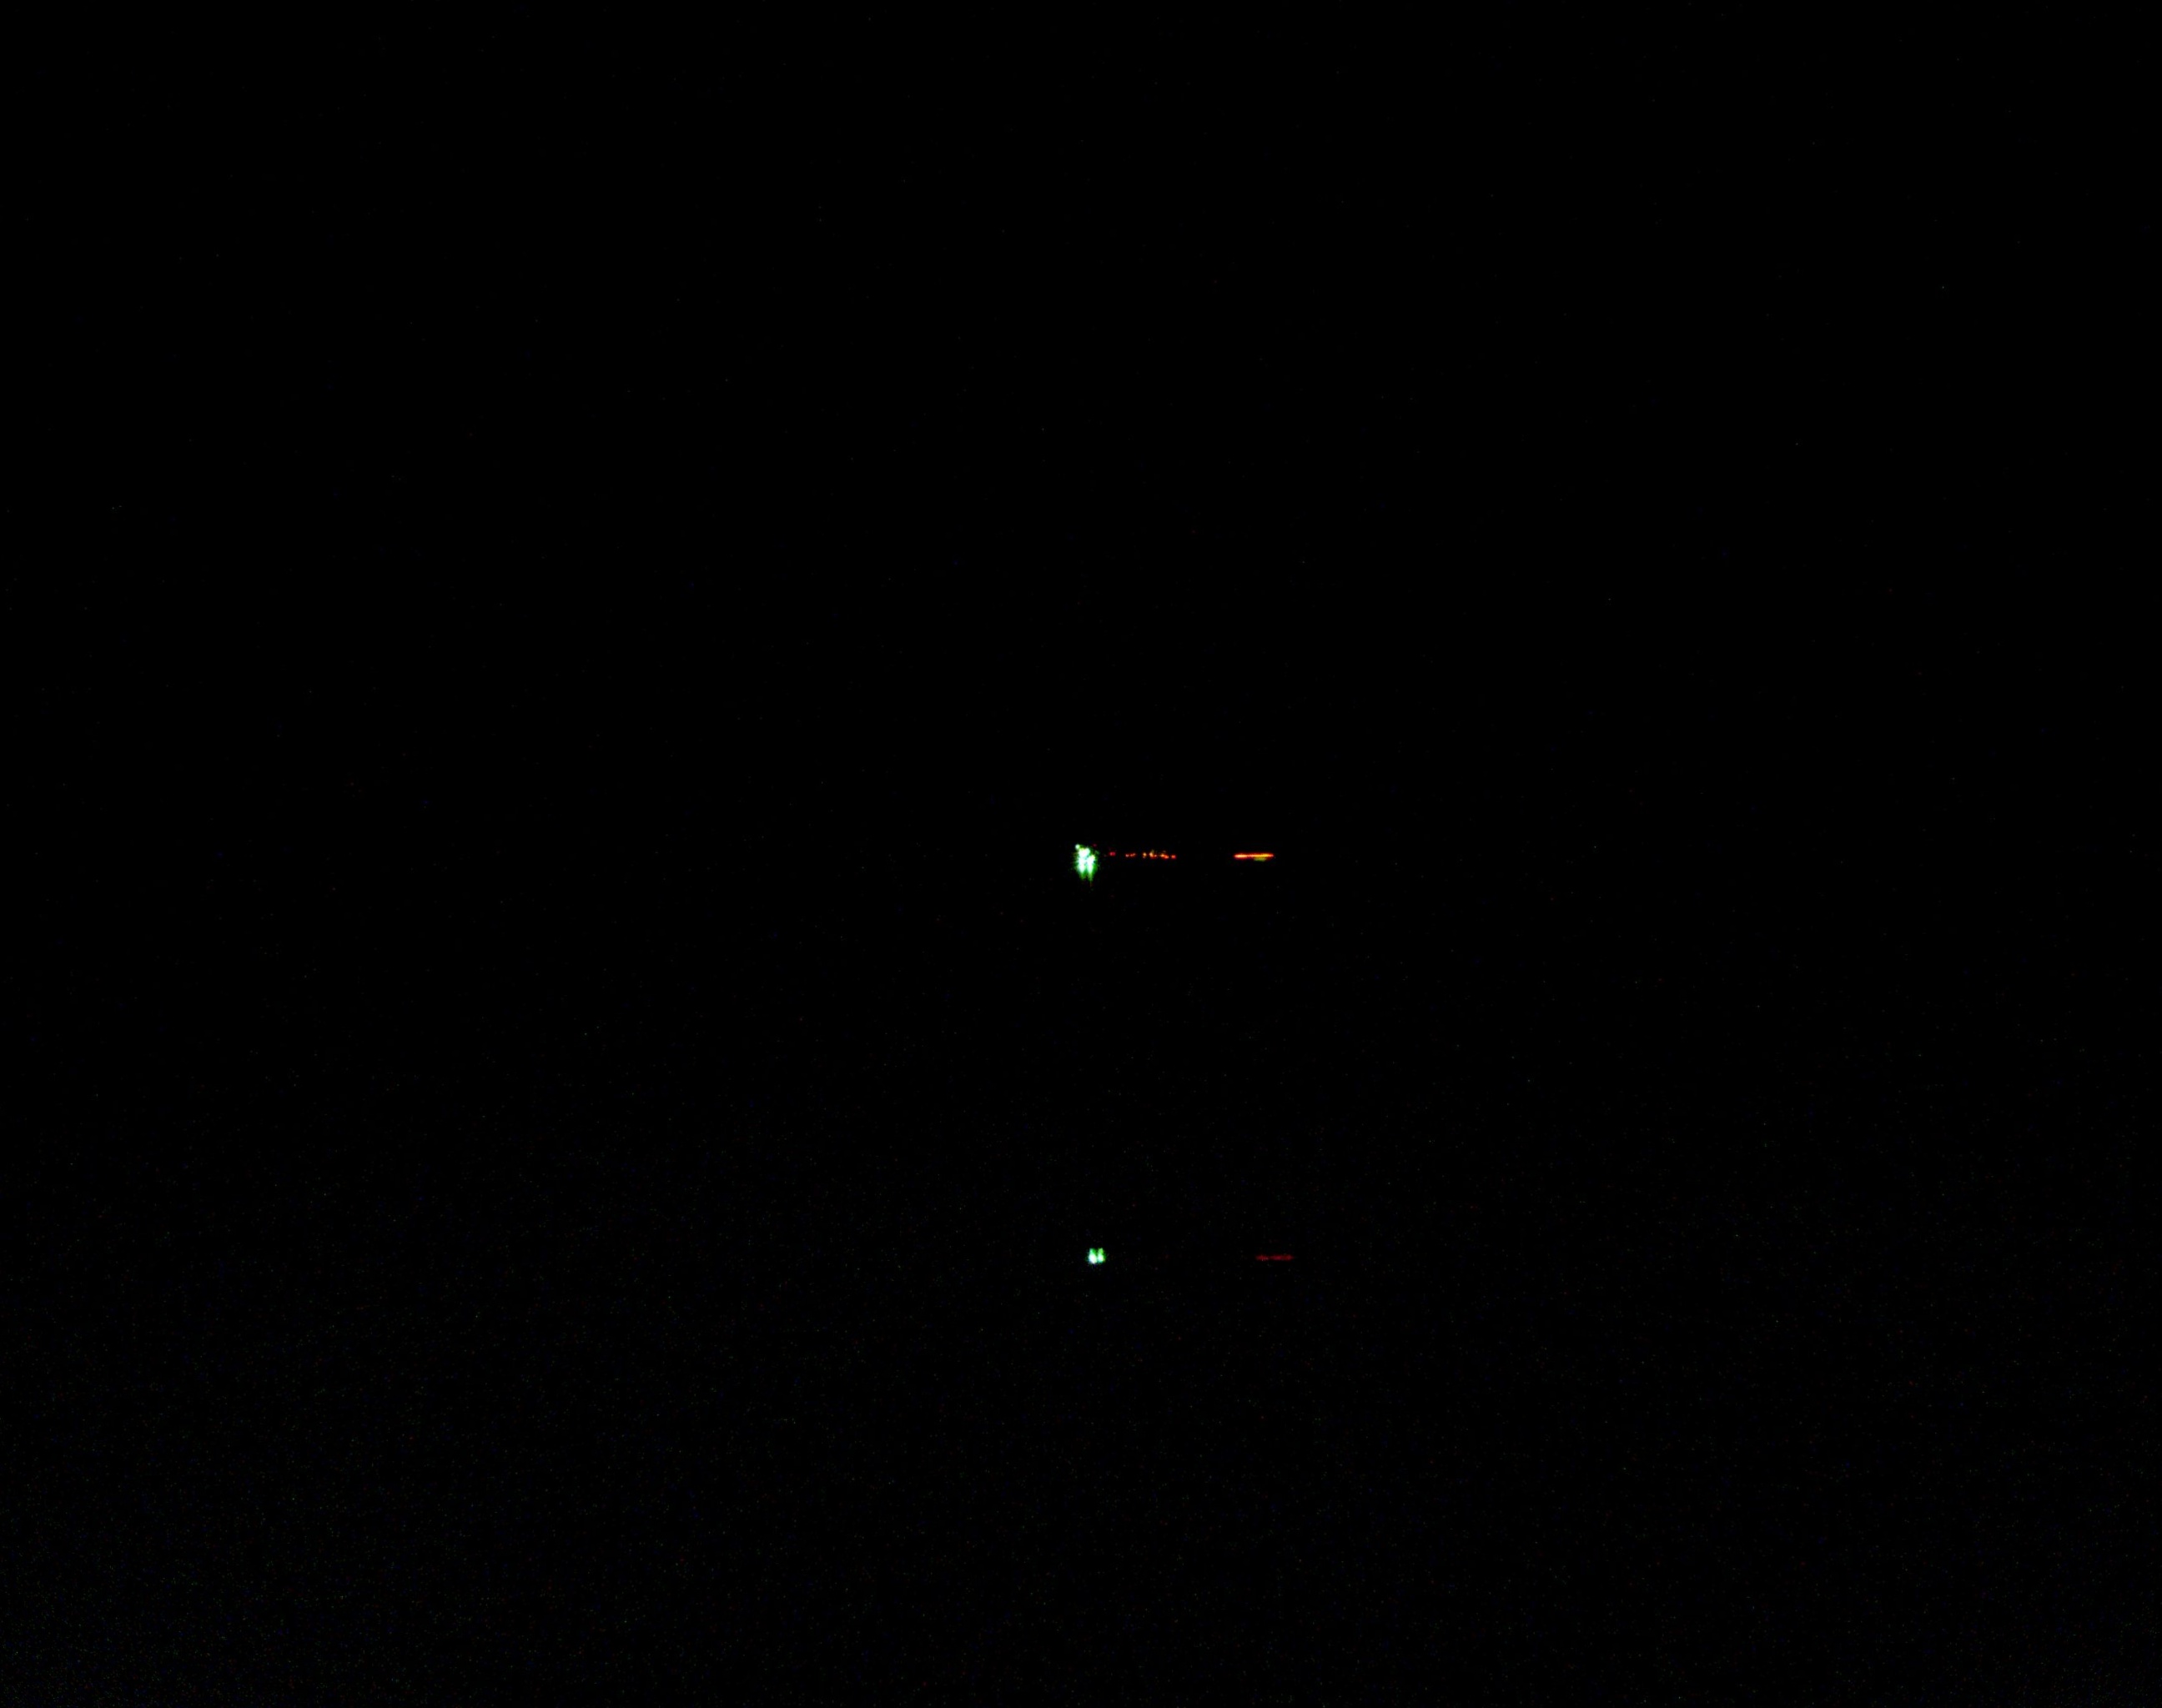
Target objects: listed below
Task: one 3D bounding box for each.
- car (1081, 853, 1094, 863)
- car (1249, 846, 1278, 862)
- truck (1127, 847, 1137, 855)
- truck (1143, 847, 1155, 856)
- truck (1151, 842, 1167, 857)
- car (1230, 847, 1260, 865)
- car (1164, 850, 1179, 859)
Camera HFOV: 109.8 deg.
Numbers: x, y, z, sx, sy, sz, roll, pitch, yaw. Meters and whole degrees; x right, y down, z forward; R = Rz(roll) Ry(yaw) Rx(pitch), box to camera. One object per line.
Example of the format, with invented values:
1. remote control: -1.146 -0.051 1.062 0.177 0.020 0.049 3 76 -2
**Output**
1. car: 1.092 0.651 127.888 2.154 1.558 4.581 -2 1 1
2. car: 19.583 -0.014 81.673 2.154 1.558 3.999 -2 1 0
3. truck: 16.995 -0.901 254.401 2.756 2.492 7.311 -2 1 0
4. truck: 19.796 -0.645 221.851 2.756 2.492 7.311 -2 1 0
5. truck: 24.255 -1.502 235.738 3.606 4.288 11.196 -2 1 0
6. car: 15.730 0.143 72.929 1.998 1.587 3.999 -2 1 0
7. car: 17.134 0.071 144.014 2.154 1.558 3.999 -2 1 0
